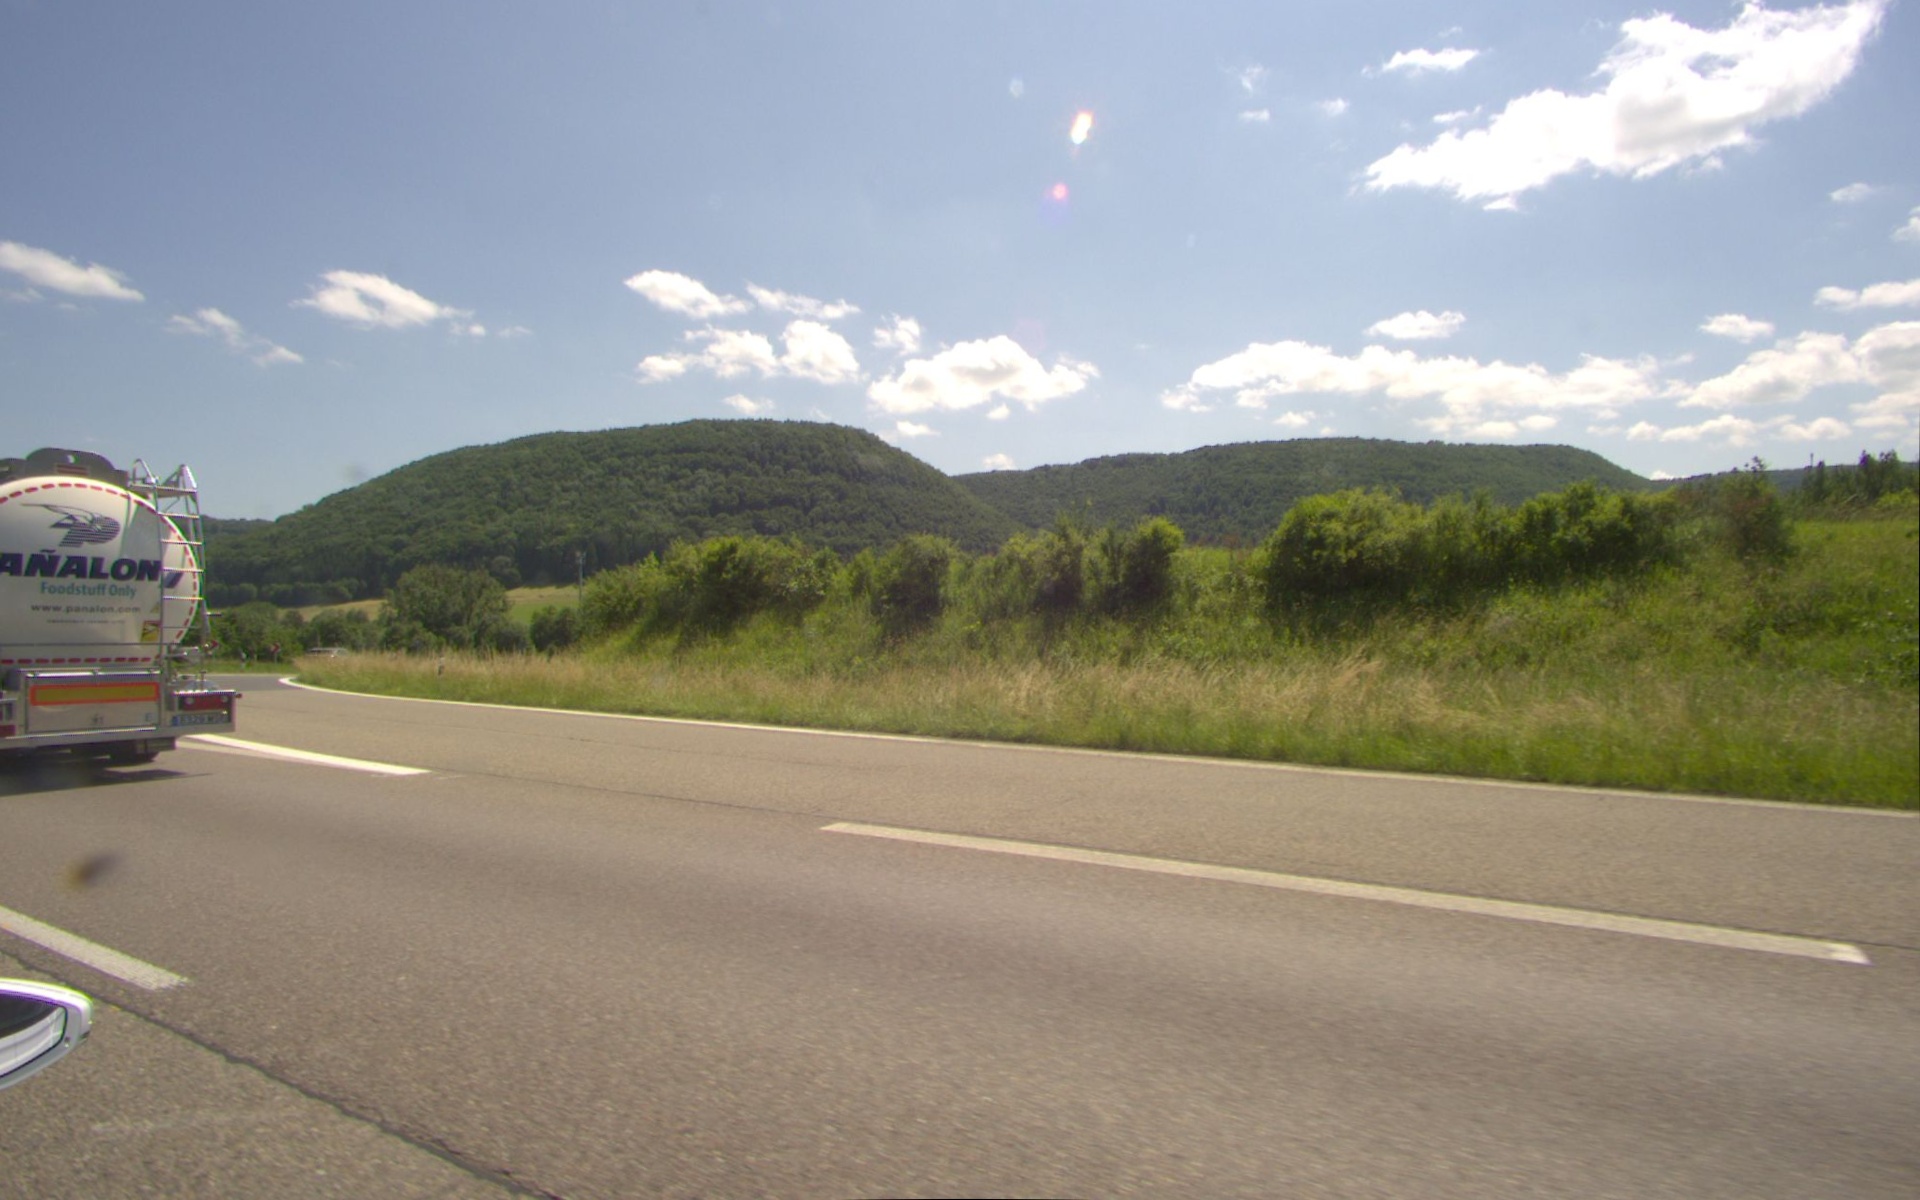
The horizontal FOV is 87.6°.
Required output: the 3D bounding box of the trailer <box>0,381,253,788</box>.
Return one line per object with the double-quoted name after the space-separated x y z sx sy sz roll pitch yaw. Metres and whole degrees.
-13.485 -0.038 13.115 11.719 3.784 2.534 -1 -1 32 "trailer"
